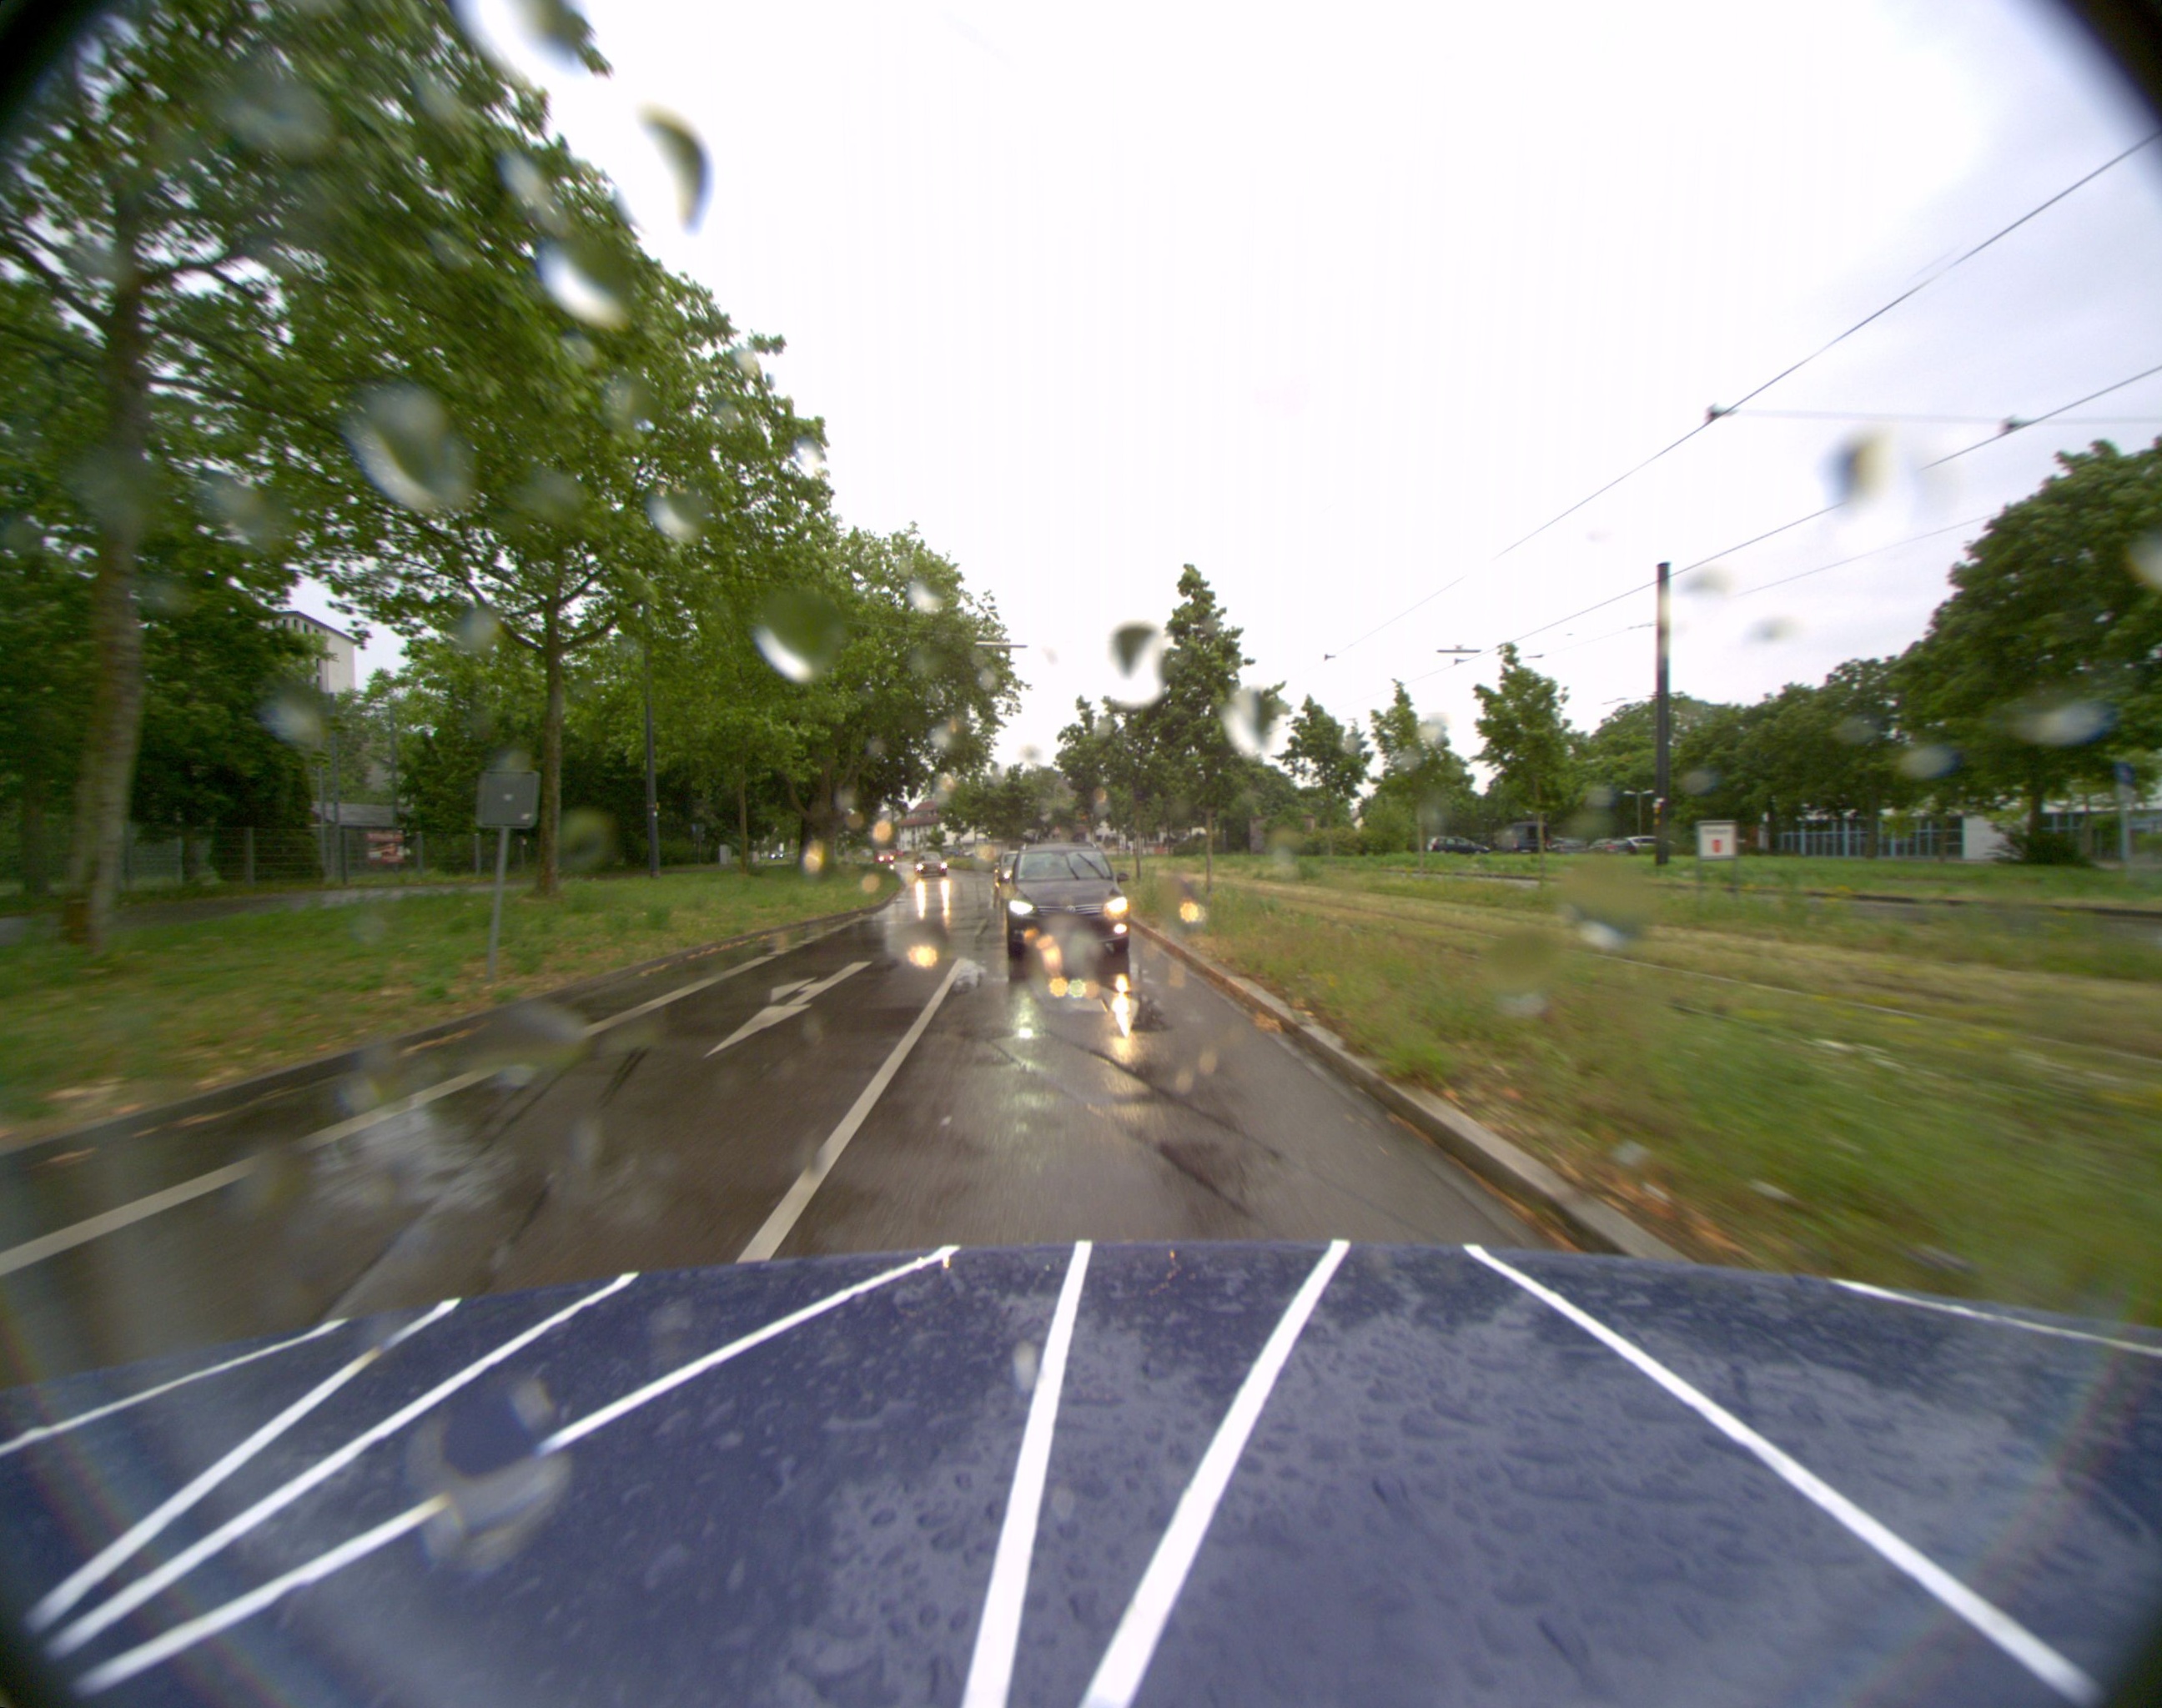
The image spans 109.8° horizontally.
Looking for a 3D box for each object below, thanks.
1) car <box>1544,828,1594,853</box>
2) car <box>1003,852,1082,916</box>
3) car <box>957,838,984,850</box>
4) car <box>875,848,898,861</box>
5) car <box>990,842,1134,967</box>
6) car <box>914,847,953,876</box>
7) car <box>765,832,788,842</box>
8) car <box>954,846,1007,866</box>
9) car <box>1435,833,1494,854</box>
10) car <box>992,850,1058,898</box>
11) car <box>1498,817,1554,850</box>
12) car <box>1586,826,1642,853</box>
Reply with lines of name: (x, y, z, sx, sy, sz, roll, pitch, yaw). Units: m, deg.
car: (31.964, -0.920, 49.922, 1.752, 1.522, 4.855, -2, 1, 21)
car: (-1.085, 0.689, 19.641, 1.789, 1.355, 3.995, -3, 1, -5)
car: (-18.562, -1.768, 128.168, 4.007, 1.791, 1.888, -3, 1, -38)
car: (-21.185, 0.041, 82.789, 1.791, 1.373, 3.857, -3, 1, -23)
car: (-0.363, 0.634, 12.471, 1.866, 1.592, 4.523, -2, 1, -3)
car: (-9.042, 0.448, 46.406, 1.874, 1.609, 3.803, -3, 1, -17)
car: (-59.540, -3.264, 148.496, 4.005, 1.816, 1.995, -3, 2, -28)
car: (-8.192, 0.182, 61.792, 4.047, 1.412, 1.673, -3, 1, -14)
car: (31.392, -0.855, 62.341, 4.173, 1.474, 1.785, -2, 1, 24)
car: (-1.972, 0.608, 25.550, 1.789, 1.396, 3.790, -3, 1, -10)
car: (29.242, -1.357, 50.096, 2.308, 2.002, 5.124, -2, 1, 21)
car: (34.119, -0.983, 48.783, 2.057, 1.564, 5.023, -2, 1, 25)
